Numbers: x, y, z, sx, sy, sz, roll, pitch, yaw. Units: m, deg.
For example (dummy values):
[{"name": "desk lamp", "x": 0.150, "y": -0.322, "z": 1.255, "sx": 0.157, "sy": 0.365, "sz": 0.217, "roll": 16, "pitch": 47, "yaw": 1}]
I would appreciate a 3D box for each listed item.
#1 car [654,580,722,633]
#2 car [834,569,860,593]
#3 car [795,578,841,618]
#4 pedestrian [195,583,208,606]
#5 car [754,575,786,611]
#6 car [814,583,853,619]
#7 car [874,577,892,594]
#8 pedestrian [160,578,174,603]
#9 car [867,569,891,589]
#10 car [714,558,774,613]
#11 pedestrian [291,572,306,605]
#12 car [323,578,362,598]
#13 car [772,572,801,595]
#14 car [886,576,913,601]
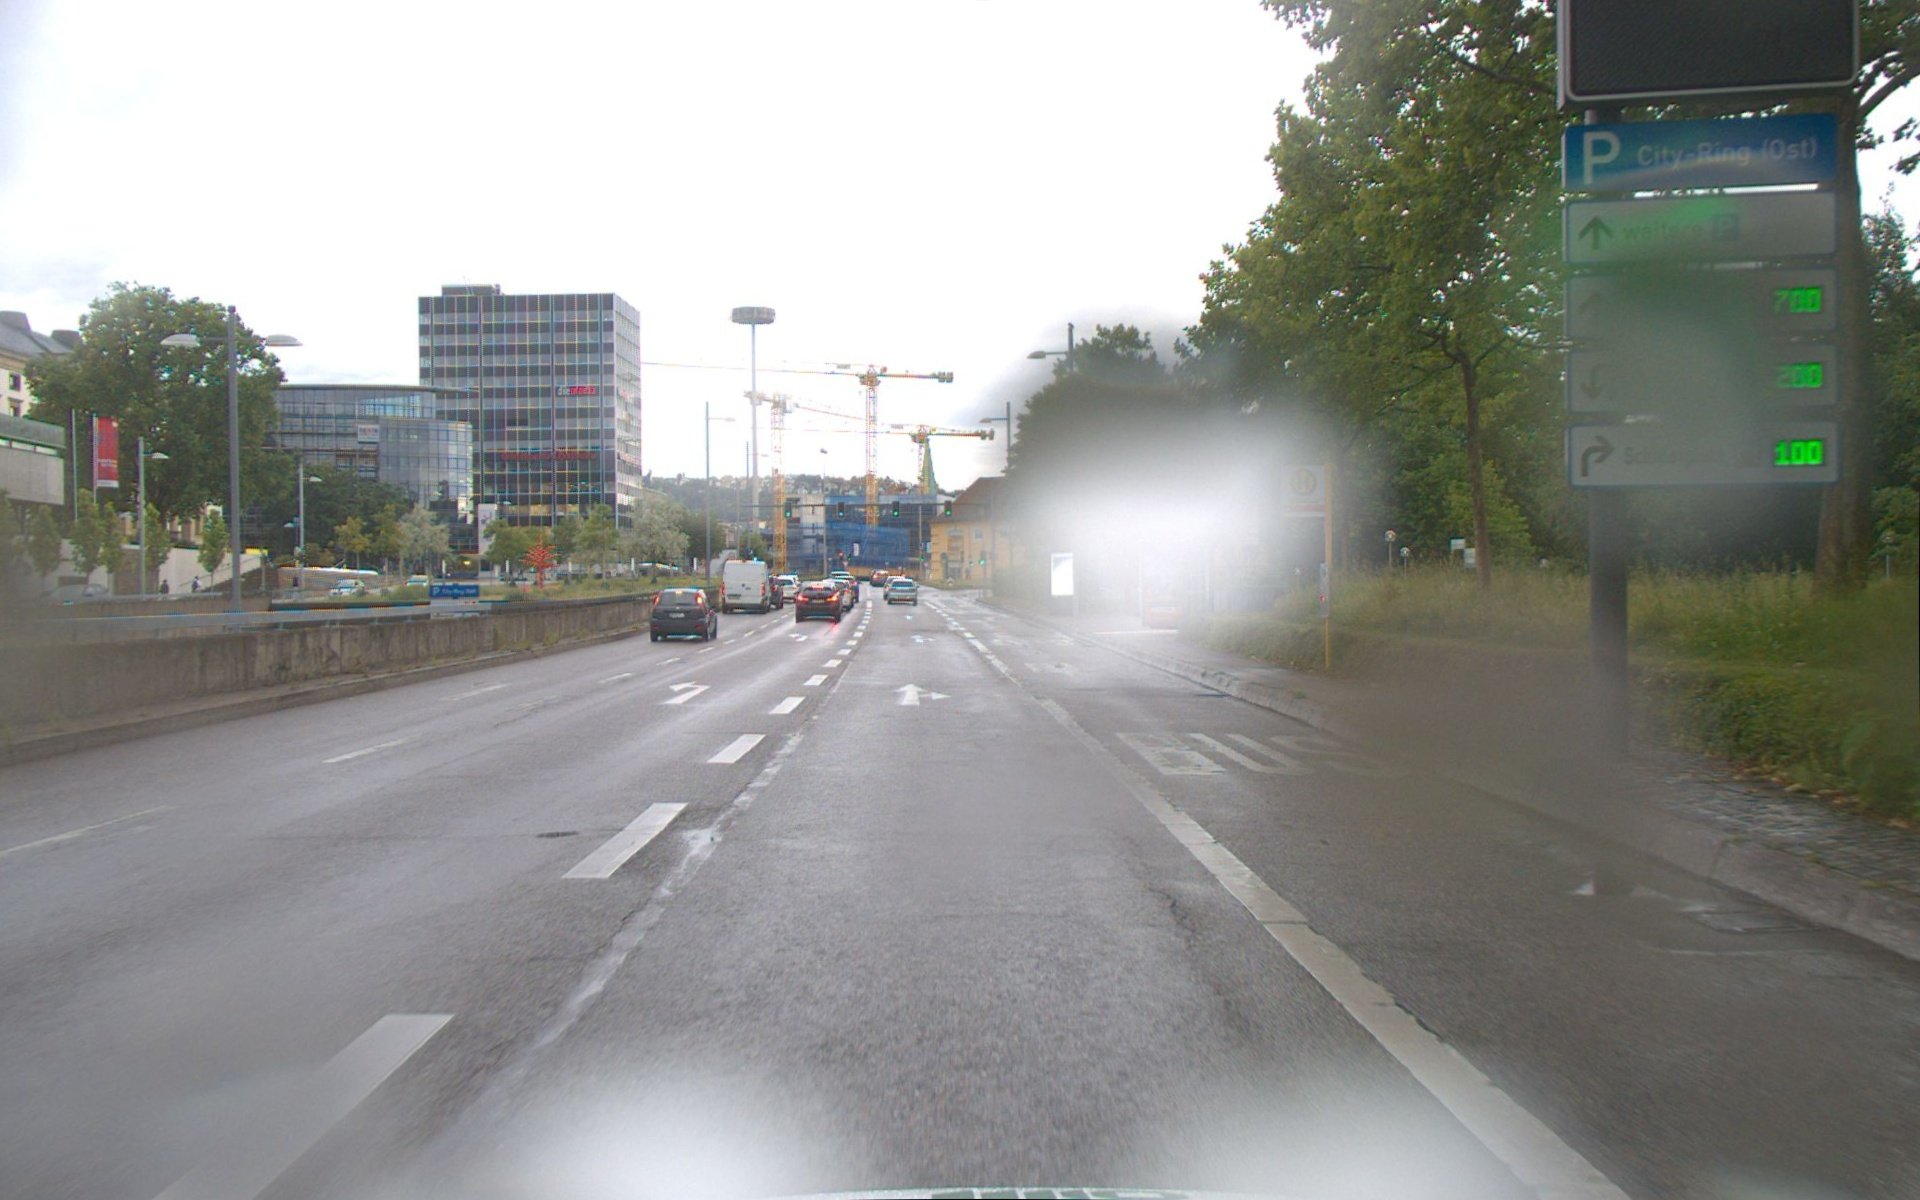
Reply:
[{"name": "car", "x": -7.736, "y": 0.182, "z": 47.287, "sx": 1.512, "sy": 1.440, "sz": 3.898, "roll": 1, "pitch": 0, "yaw": -4}, {"name": "car", "x": -6.749, "y": -1.121, "z": 99.216, "sx": 1.463, "sy": 1.393, "sz": 3.031, "roll": 1, "pitch": -1, "yaw": -3}, {"name": "car", "x": -5.692, "y": -0.104, "z": 66.645, "sx": 1.719, "sy": 1.497, "sz": 4.220, "roll": 1, "pitch": 1, "yaw": -4}, {"name": "pedestrian", "x": -47.507, "y": -0.322, "z": 103.566, "sx": 0.481, "sy": 1.448, "sz": 0.633, "roll": 1, "pitch": -1, "yaw": 4}, {"name": "car", "x": -9.381, "y": -0.336, "z": 81.886, "sx": 1.435, "sy": 1.736, "sz": 3.138, "roll": 1, "pitch": -1, "yaw": -5}, {"name": "car", "x": -6.213, "y": 0.062, "z": 80.804, "sx": 1.844, "sy": 1.681, "sz": 3.454, "roll": 1, "pitch": -1, "yaw": -5}, {"name": "car", "x": -4.972, "y": -0.938, "z": 106.849, "sx": 1.054, "sy": 1.007, "sz": 1.971, "roll": 1, "pitch": -1, "yaw": 0}, {"name": "pedestrian", "x": -45.512, "y": -0.550, "z": 94.889, "sx": 0.457, "sy": 1.407, "sz": 0.577, "roll": 1, "pitch": -1, "yaw": 7}, {"name": "car", "x": -7.814, "y": -2.027, "z": 160.262, "sx": 2.117, "sy": 1.912, "sz": 3.770, "roll": 1, "pitch": -1, "yaw": 0}, {"name": "car", "x": -9.791, "y": -0.621, "z": 75.386, "sx": 2.246, "sy": 2.354, "sz": 5.003, "roll": 1, "pitch": -1, "yaw": -2}, {"name": "pedestrian", "x": -44.481, "y": -0.757, "z": 111.168, "sx": 0.719, "sy": 2.126, "sz": 0.759, "roll": -3, "pitch": 7, "yaw": -39}, {"name": "car", "x": -41.236, "y": -0.804, "z": 110.563, "sx": 1.379, "sy": 1.277, "sz": 3.166, "roll": 1, "pitch": 0, "yaw": 0}, {"name": "car", "x": -10.024, "y": -0.951, "z": 95.639, "sx": 1.520, "sy": 1.282, "sz": 2.579, "roll": 1, "pitch": -1, "yaw": -3}, {"name": "car", "x": -3.470, "y": -0.658, "z": 95.200, "sx": 1.415, "sy": 1.383, "sz": 2.412, "roll": 1, "pitch": -1, "yaw": 0}]
